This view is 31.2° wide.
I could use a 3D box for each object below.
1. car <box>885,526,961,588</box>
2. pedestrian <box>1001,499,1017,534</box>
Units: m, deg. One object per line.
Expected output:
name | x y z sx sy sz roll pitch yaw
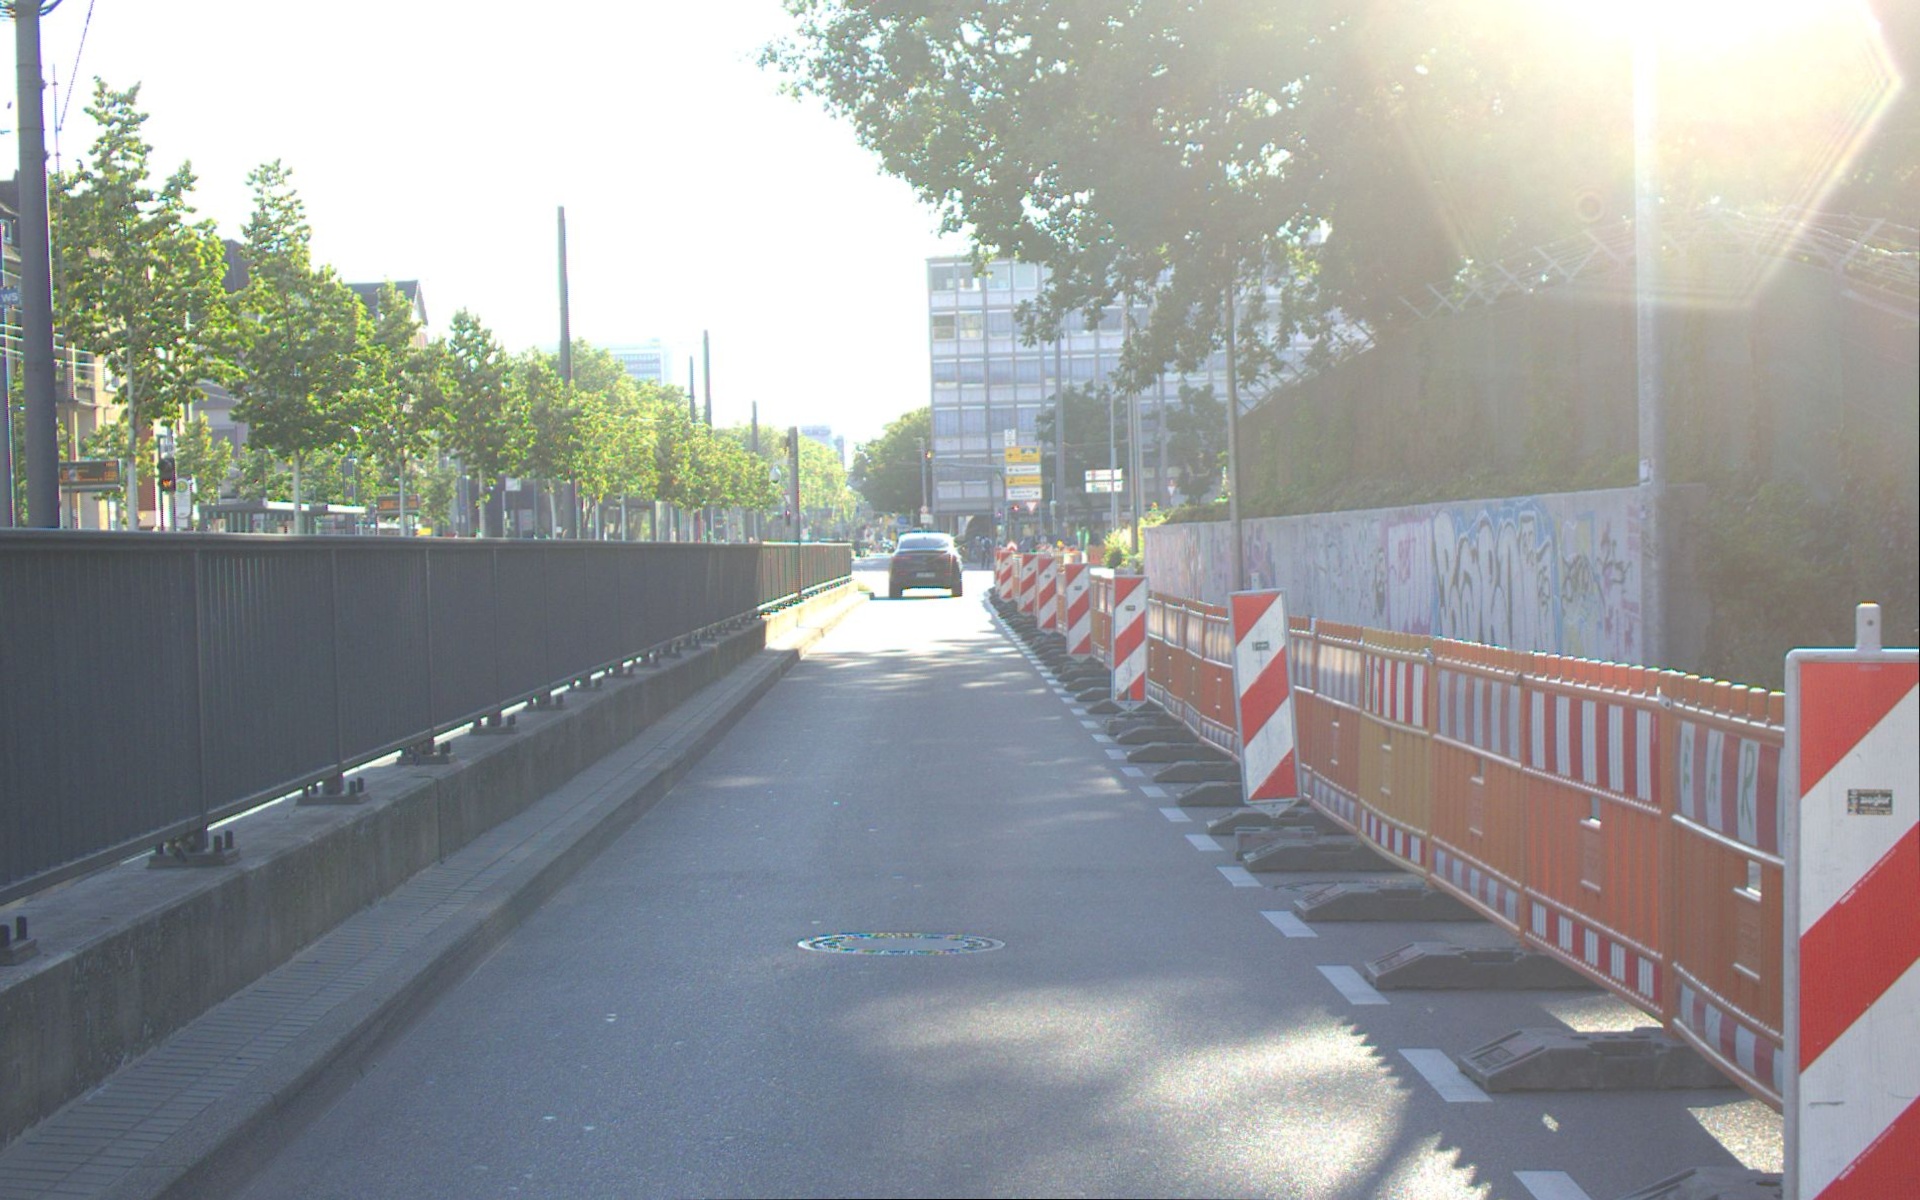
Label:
car | -0.982 -1.178 94.350 2.005 1.653 4.000 0 1 0
pedestrian | 2.914 -4.974 204.729 0.891 2.105 0.718 -1 2 5
